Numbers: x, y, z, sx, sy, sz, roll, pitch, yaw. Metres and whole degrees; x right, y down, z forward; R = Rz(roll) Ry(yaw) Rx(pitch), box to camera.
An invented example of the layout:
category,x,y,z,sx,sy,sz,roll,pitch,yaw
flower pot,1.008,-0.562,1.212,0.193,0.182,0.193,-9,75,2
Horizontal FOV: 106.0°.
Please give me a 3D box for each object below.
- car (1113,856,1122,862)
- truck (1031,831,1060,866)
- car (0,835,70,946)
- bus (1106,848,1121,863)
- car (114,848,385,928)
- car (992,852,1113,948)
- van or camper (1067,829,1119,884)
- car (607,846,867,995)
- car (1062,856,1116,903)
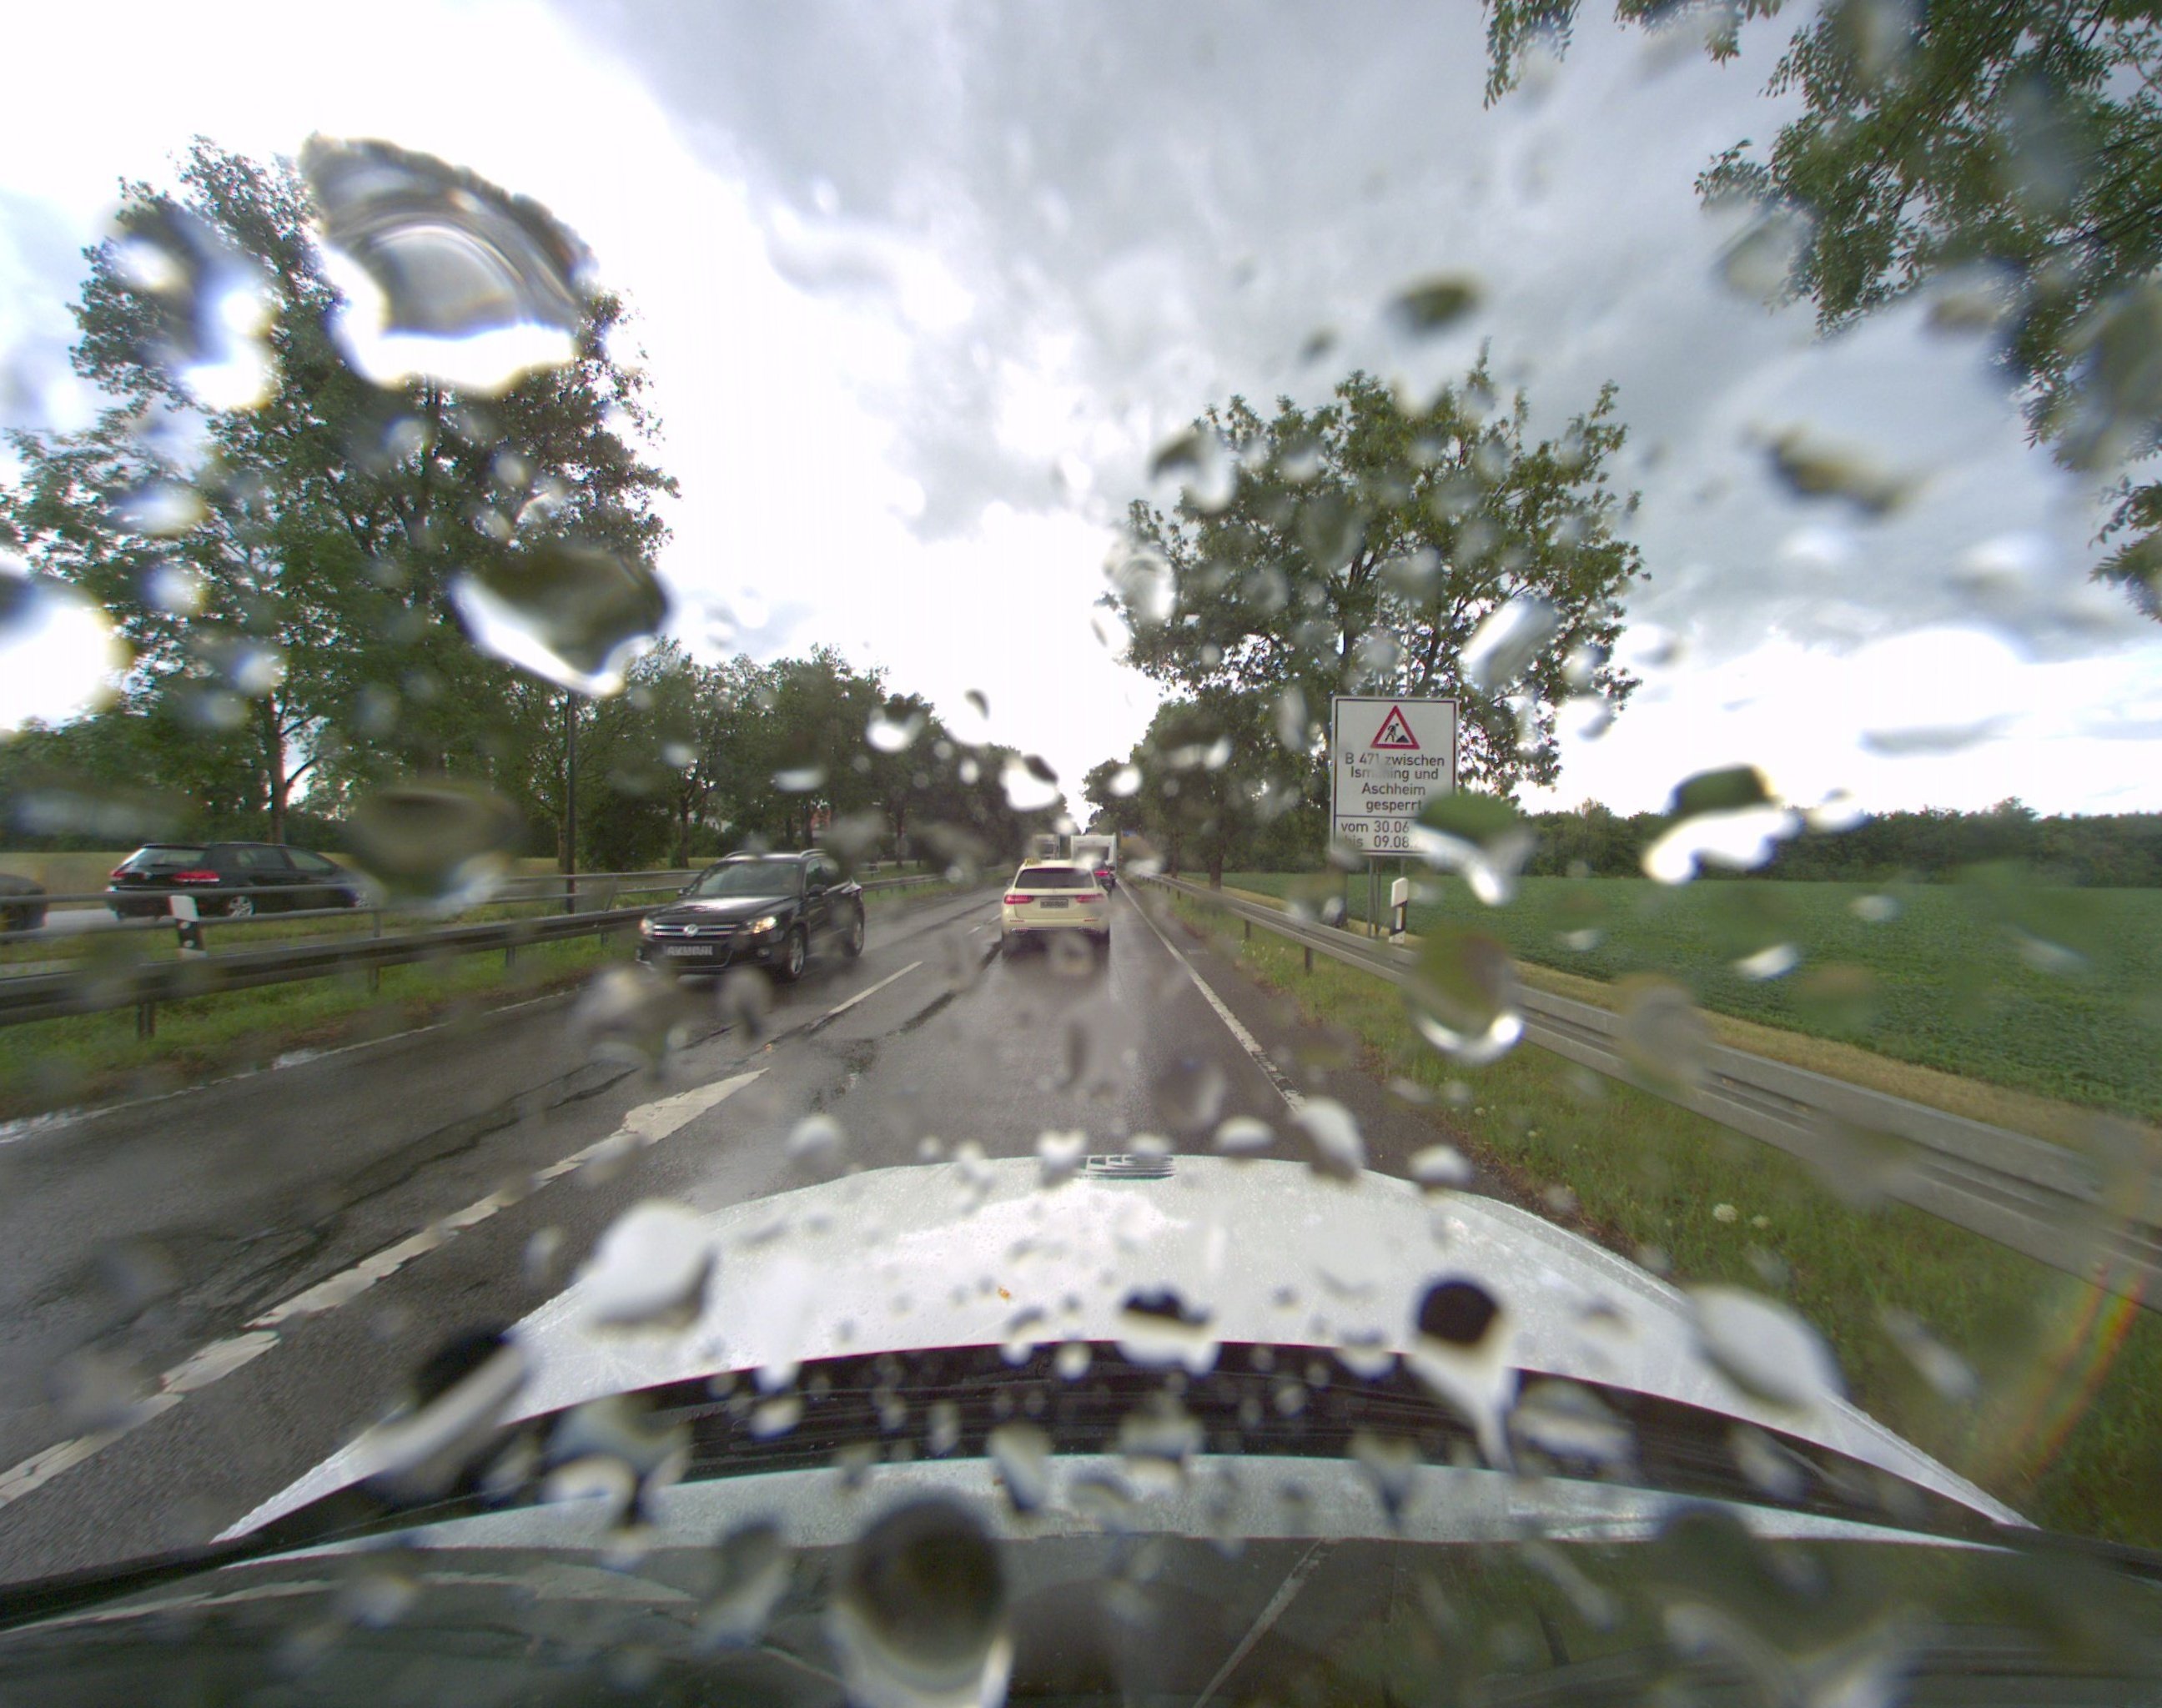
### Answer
category,x,y,z,sx,sy,sz,roll,pitch,yaw
car,6.352,0.920,143.749,1.546,1.118,4.002,0,-1,2
truck,-3.659,-0.589,85.792,2.568,3.452,9.554,-1,0,0
car,-15.163,0.482,9.079,1.511,1.491,5.117,1,0,-2
bus,4.426,0.168,111.726,1.987,2.013,4.000,-1,0,1
car,-15.511,0.562,15.516,1.280,1.331,3.894,0,0,-3
car,-0.362,0.719,14.694,1.857,1.476,4.002,-1,0,2
van or camper,0.697,0.126,42.364,2.480,2.685,5.703,0,0,2
car,-4.335,0.737,11.023,1.758,1.619,4.000,-1,0,0
car,0.330,0.807,27.469,1.657,1.430,4.002,-1,0,2
